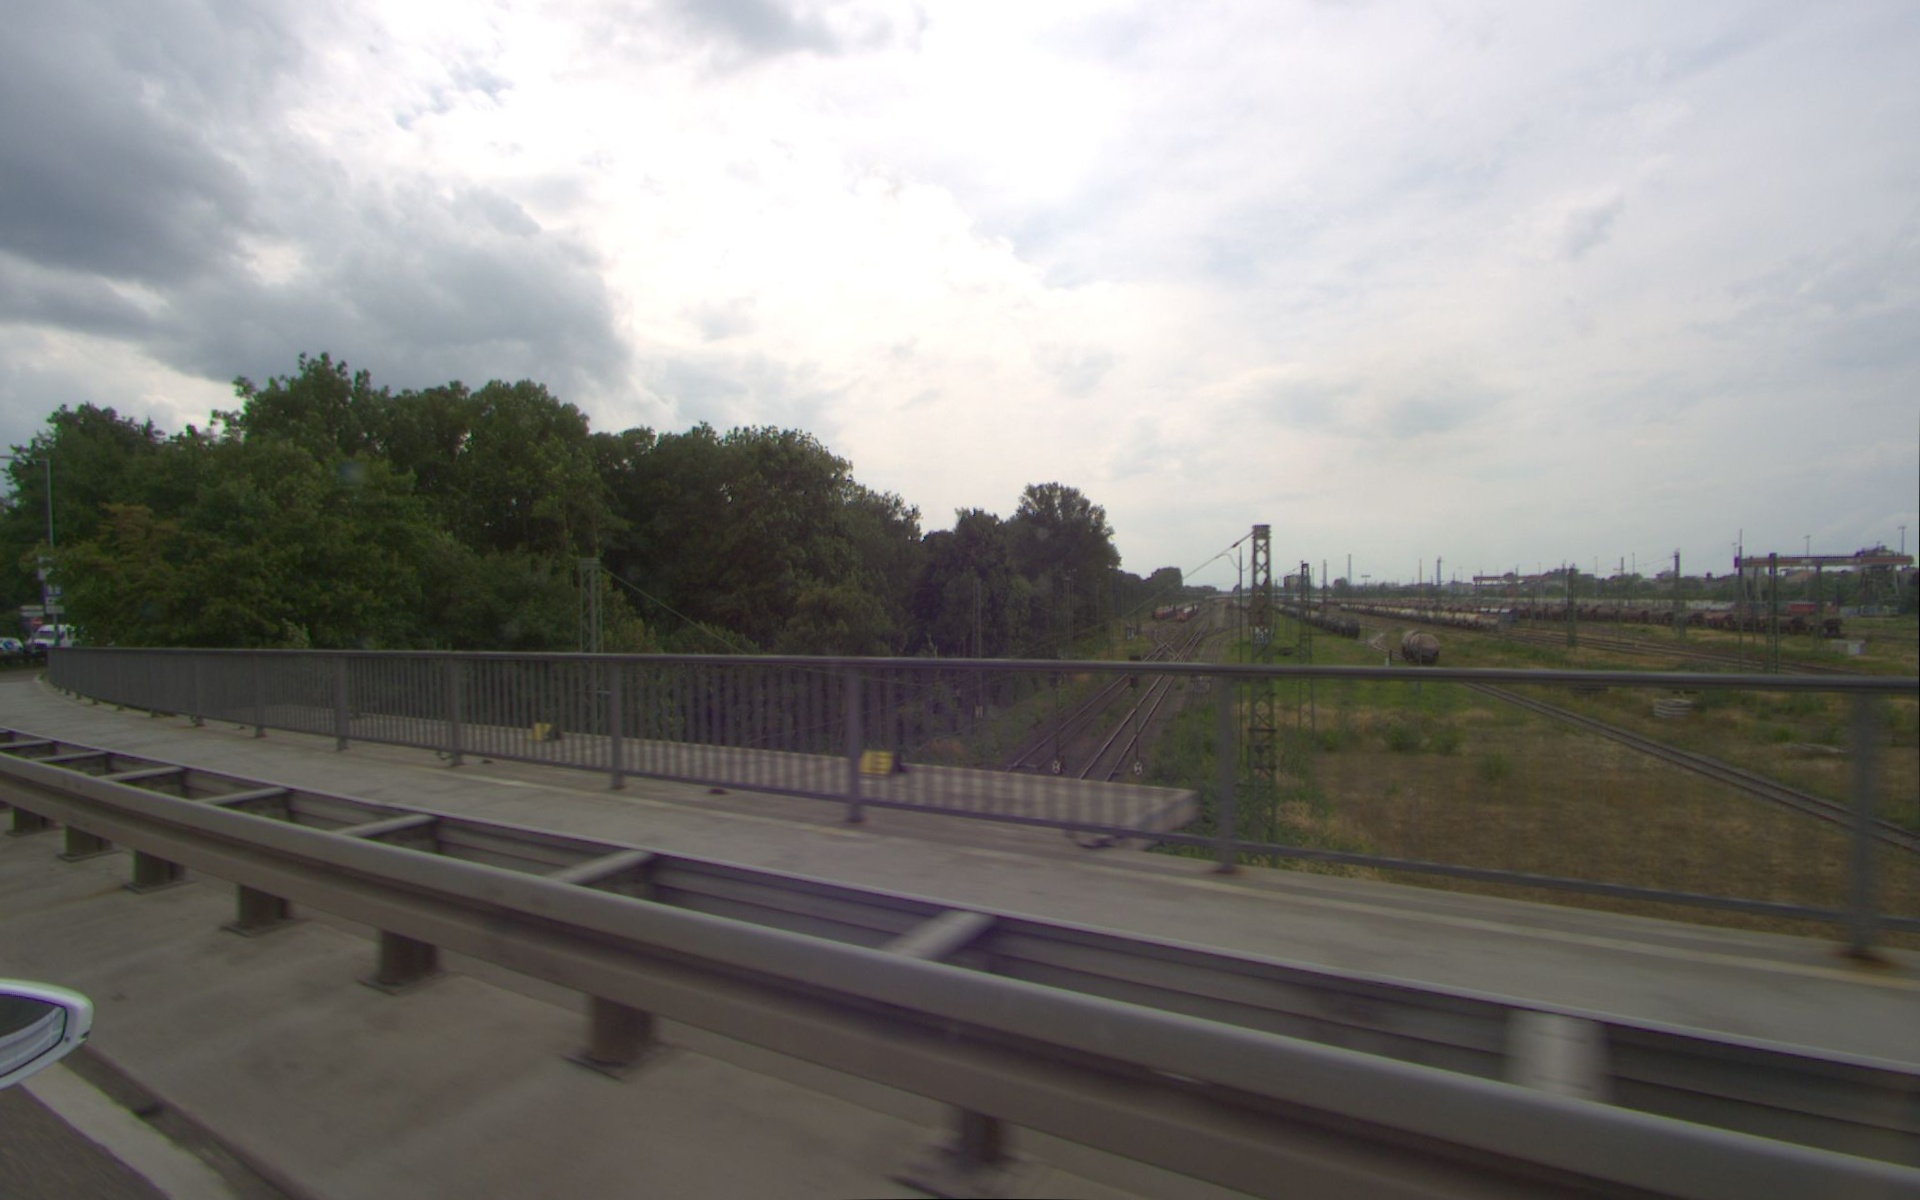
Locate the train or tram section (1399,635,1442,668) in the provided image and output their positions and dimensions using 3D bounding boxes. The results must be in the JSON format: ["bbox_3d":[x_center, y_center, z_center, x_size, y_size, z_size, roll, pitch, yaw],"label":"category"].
[{"bbox_3d":[62.509,6.868,136.121,3.193,4.221,11.379,-1,-2,14],"label":"train or tram section"}]

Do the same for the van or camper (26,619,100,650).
[{"bbox_3d":[-81.002,3.121,90.558,2.128,2.621,6.490,0,-2,-14],"label":"van or camper"}]

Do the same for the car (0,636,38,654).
[{"bbox_3d":[-83.771,3.919,88.150,1.964,1.566,4.533,0,-2,-15],"label":"car"}]

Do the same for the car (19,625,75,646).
[{"bbox_3d":[-84.968,3.273,93.212,1.963,1.926,4.165,0,-2,-11],"label":"car"}]
